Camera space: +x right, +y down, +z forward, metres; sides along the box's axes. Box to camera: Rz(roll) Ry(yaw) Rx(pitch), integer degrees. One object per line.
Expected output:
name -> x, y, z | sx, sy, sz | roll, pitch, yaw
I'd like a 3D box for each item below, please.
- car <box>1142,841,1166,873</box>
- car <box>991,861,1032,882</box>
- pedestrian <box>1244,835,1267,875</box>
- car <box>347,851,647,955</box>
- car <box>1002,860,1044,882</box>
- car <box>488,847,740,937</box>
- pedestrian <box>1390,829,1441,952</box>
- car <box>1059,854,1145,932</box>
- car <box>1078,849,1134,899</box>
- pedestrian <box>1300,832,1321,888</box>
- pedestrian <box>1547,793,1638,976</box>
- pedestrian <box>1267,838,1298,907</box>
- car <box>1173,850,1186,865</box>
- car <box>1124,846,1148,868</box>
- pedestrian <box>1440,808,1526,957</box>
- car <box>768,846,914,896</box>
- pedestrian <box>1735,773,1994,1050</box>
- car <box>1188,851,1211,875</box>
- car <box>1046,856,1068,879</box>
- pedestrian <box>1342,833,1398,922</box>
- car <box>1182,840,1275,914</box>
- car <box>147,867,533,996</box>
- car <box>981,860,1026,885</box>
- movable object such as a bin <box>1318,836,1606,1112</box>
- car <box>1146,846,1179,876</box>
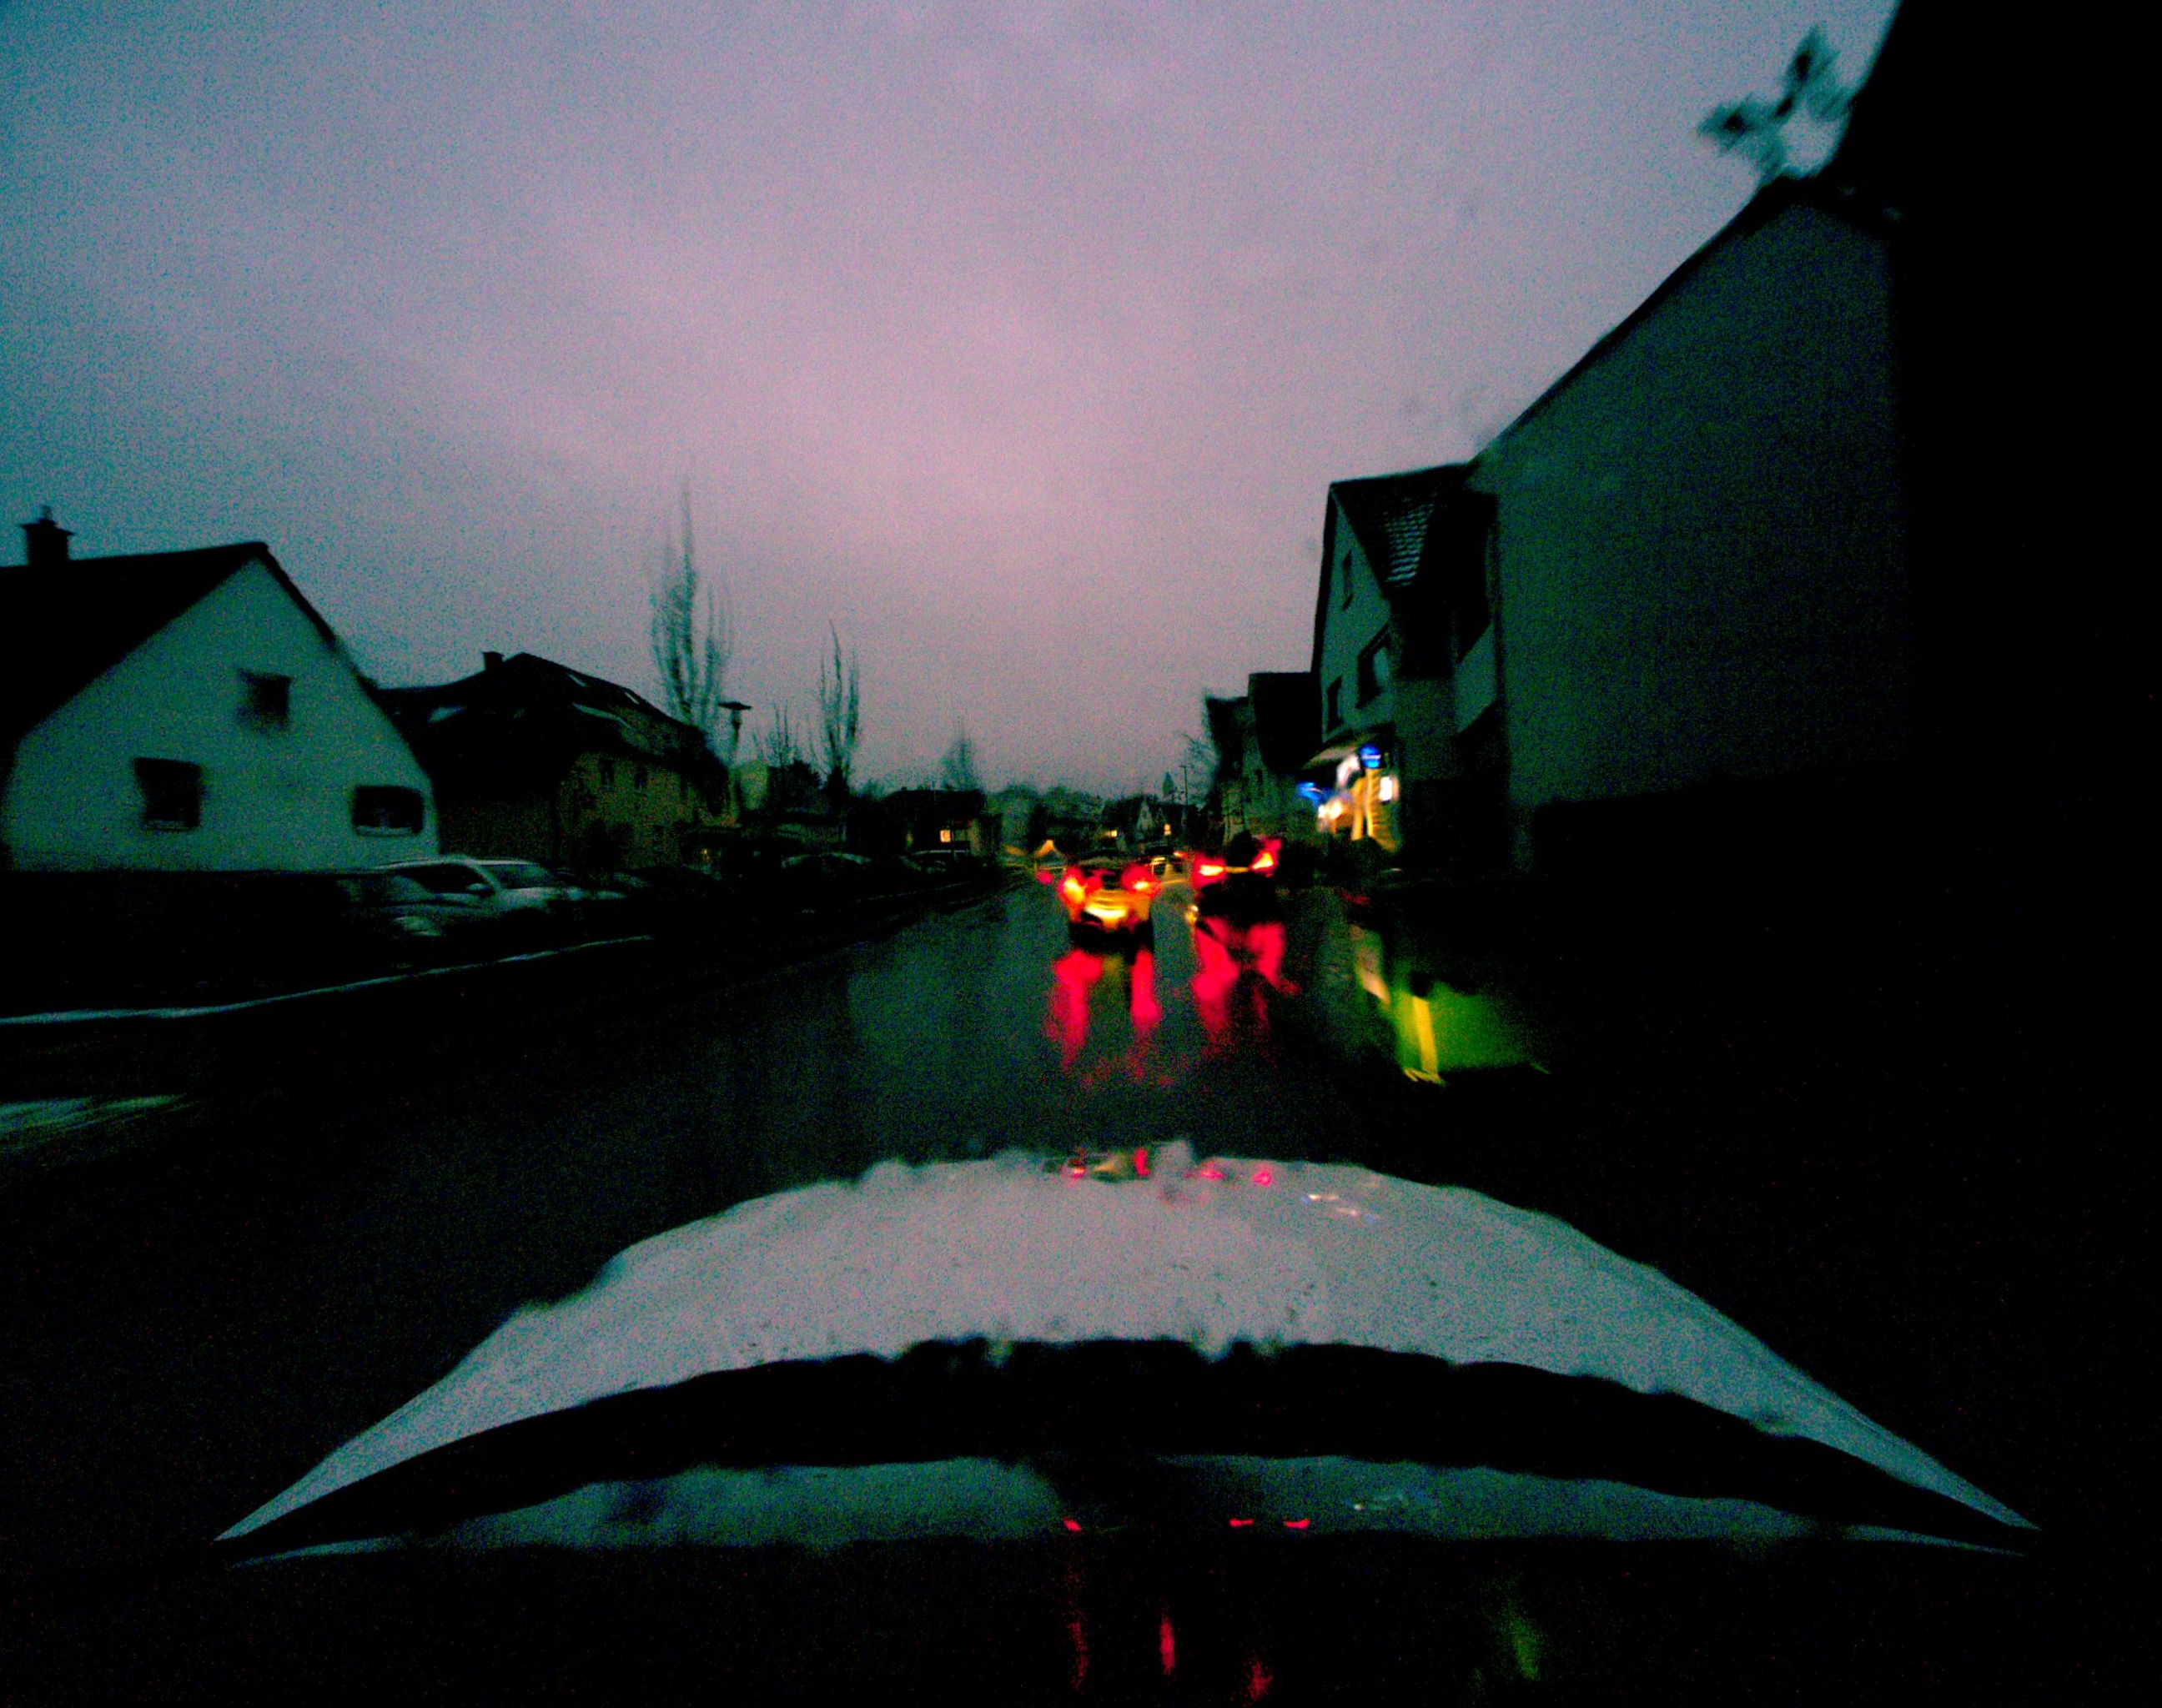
car -> 5.839, 0.300, 65.732 | 1.862, 2.469, 4.447 | 0, -2, 4
car -> -6.897, 1.759, 80.734 | 1.833, 1.976, 4.118 | 2, -3, -43
pedestrian -> 6.805, 0.025, 31.724 | 0.618, 1.515, 0.731 | -2, 1, -11
car -> -9.281, 0.766, 13.090 | 3.771, 1.523, 1.719 | -1, -1, 9
car -> -5.964, 1.816, 83.550 | 2.011, 2.167, 4.332 | 2, -3, -43
car -> -9.023, 0.723, 15.896 | 4.073, 1.608, 1.590 | -1, -1, 5
pedestrian -> 4.657, 0.484, 11.390 | 0.476, 1.630, 1.023 | -3, 0, 16
car -> 0.451, 0.708, 16.263 | 1.556, 1.412, 3.020 | 0, 0, 3
car -> 0.922, 0.651, 28.281 | 1.758, 1.628, 3.590 | 0, 0, 4
pedestrian -> 7.124, 0.199, 25.313 | 0.613, 1.727, 0.503 | -1, -3, 14
pedestrian -> 5.314, 0.300, 8.506 | 0.525, 1.800, 0.867 | -1, 0, 12
pedestrian -> 5.112, 0.463, 20.703 | 0.570, 1.699, 0.653 | -3, -1, 4
car -> 11.736, 0.459, 96.943 | 1.451, 1.621, 3.297 | 0, -2, 4
car -> 5.079, 0.312, 75.705 | 1.986, 2.014, 4.001 | -1, -1, 2
pedestrian -> 4.897, 0.334, 9.991 | 0.707, 1.715, 1.039 | -3, 0, 16
car -> -8.580, 0.619, 29.421 | 4.610, 1.667, 2.000 | -1, -1, 0
pedestrian -> 5.250, 0.356, 5.552 | 0.742, 1.679, 1.055 | -3, 0, 9
car -> 11.310, 0.887, 77.907 | 1.984, 2.249, 4.004 | 0, -2, 4
car -> -2.217, 1.302, 76.456 | 1.913, 2.028, 3.975 | 0, -2, 1
pedestrian -> 5.497, 0.419, 15.527 | 0.618, 1.626, 0.903 | -2, 1, -11
car -> 3.753, 0.548, 21.395 | 1.729, 1.692, 4.388 | -2, 0, 2
car -> -9.271, 0.929, 10.388 | 3.432, 1.372, 1.601 | -2, 0, 1
car -> -7.385, 1.817, 77.327 | 2.011, 2.252, 4.332 | 2, -3, -43
movable object such as a bin -> 2.257, 0.646, 5.112 | 1.124, 1.420, 1.419 | -5, 0, 5
car -> 5.301, 0.480, 53.323 | 1.989, 1.865, 4.086 | -1, -1, 3
